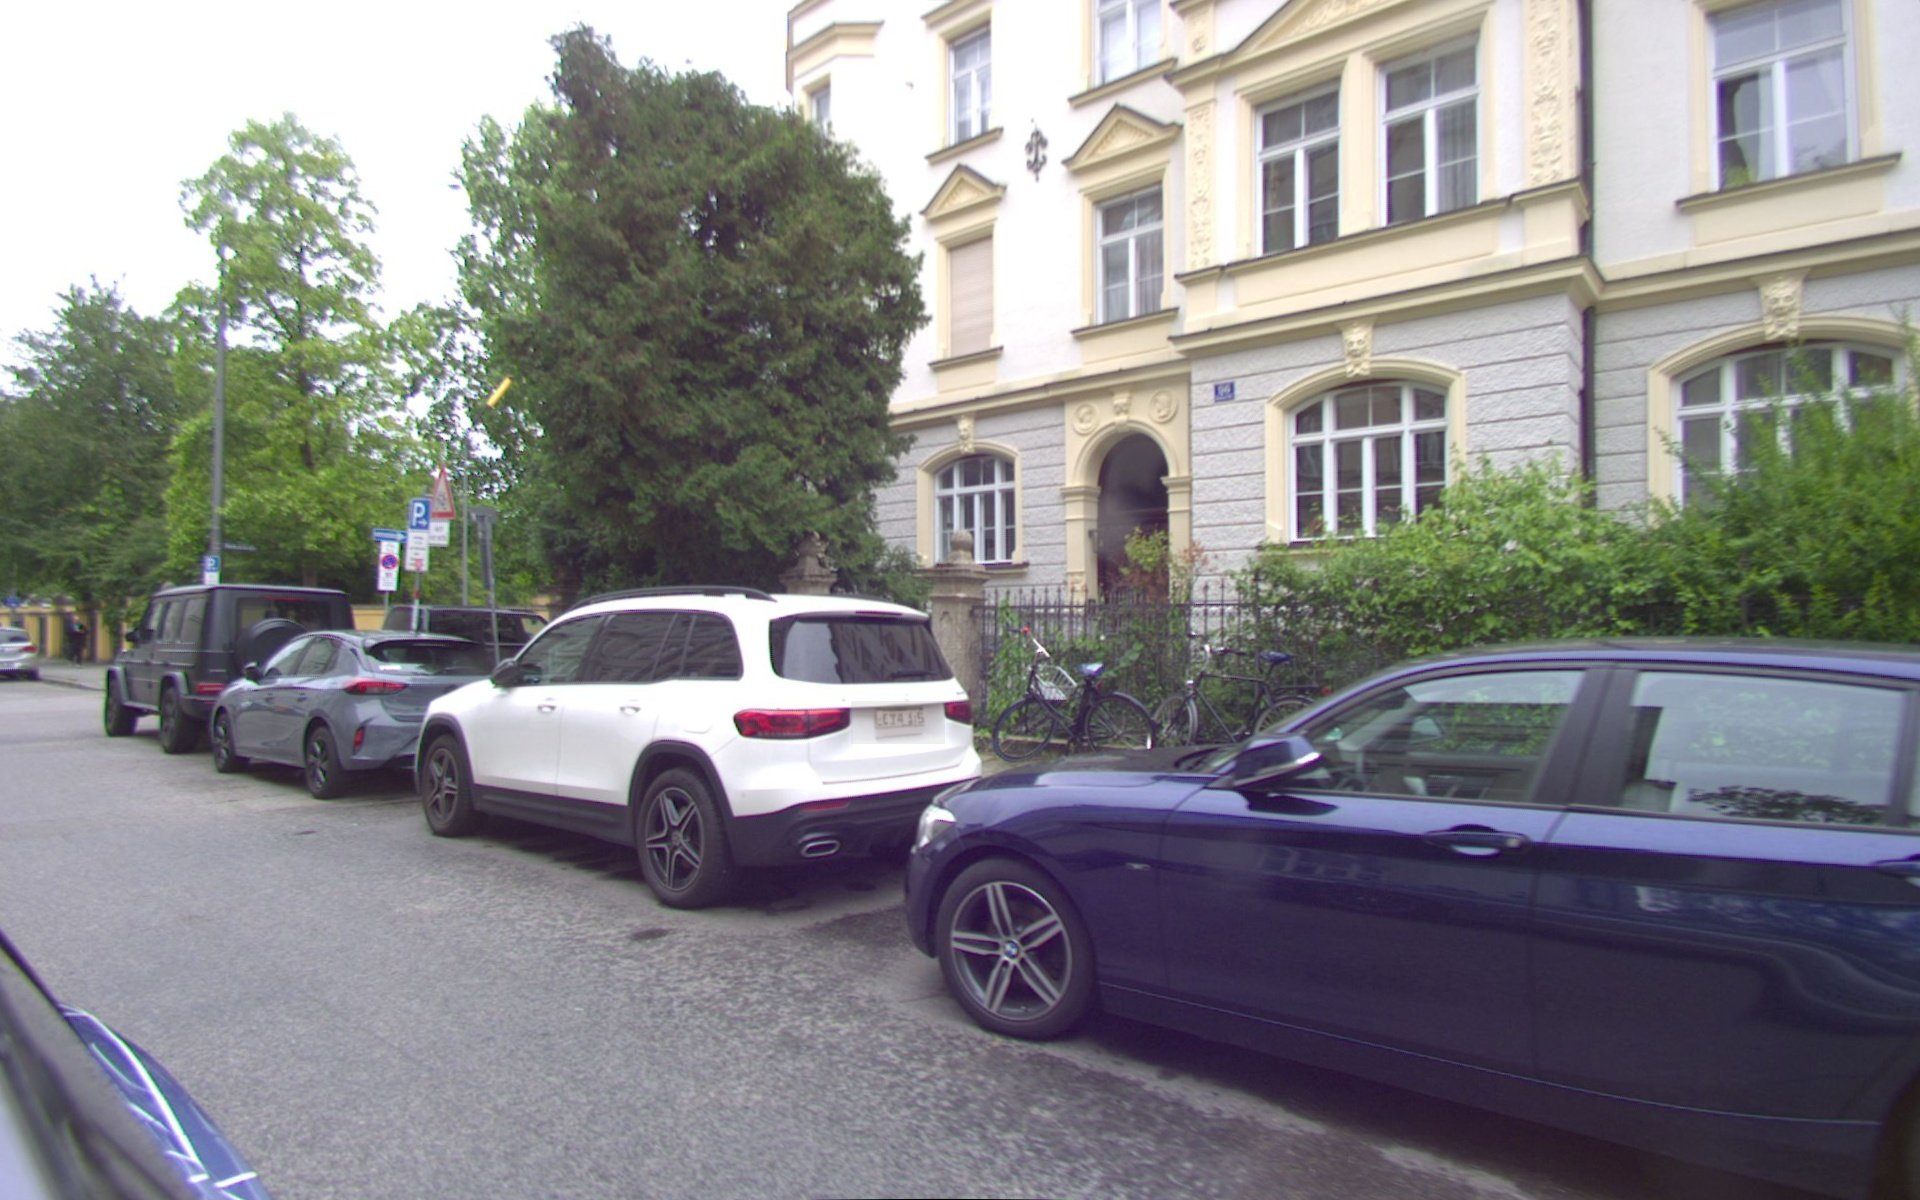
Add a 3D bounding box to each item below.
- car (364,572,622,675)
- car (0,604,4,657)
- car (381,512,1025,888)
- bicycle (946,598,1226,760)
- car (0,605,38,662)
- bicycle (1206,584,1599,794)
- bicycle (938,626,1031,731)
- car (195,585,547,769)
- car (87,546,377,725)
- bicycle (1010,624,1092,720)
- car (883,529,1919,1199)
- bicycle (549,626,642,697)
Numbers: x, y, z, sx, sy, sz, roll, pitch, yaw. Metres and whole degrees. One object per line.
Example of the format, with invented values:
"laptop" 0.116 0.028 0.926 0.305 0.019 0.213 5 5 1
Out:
"car" -9.464 0.459 20.870 2.049 1.872 4.471 -1 -1 33
"car" -30.941 0.973 31.132 3.925 1.572 1.684 -2 0 38
"car" -1.911 0.505 6.618 4.481 1.661 1.788 -2 -2 40
"bicycle" 1.047 0.652 9.047 2.529 1.269 0.689 -2 -2 41
"car" -27.148 0.935 28.097 3.951 1.504 1.684 -2 -2 38
"bicycle" 3.141 0.587 7.432 2.529 1.307 0.747 -2 -2 41
"bicycle" 0.292 0.866 11.554 0.393 1.112 1.126 -2 -1 42
"car" -5.803 0.674 9.800 3.915 1.441 1.626 -1 -4 39
"car" -9.475 0.418 13.018 4.813 1.901 1.893 -1 -2 40
"bicycle" 1.150 0.874 12.598 0.393 1.112 1.126 -2 -1 42
"car" 1.819 0.557 3.222 3.994 1.430 1.752 1 1 38
"bicycle" -5.239 0.878 14.505 1.635 0.959 0.446 -3 -2 38
